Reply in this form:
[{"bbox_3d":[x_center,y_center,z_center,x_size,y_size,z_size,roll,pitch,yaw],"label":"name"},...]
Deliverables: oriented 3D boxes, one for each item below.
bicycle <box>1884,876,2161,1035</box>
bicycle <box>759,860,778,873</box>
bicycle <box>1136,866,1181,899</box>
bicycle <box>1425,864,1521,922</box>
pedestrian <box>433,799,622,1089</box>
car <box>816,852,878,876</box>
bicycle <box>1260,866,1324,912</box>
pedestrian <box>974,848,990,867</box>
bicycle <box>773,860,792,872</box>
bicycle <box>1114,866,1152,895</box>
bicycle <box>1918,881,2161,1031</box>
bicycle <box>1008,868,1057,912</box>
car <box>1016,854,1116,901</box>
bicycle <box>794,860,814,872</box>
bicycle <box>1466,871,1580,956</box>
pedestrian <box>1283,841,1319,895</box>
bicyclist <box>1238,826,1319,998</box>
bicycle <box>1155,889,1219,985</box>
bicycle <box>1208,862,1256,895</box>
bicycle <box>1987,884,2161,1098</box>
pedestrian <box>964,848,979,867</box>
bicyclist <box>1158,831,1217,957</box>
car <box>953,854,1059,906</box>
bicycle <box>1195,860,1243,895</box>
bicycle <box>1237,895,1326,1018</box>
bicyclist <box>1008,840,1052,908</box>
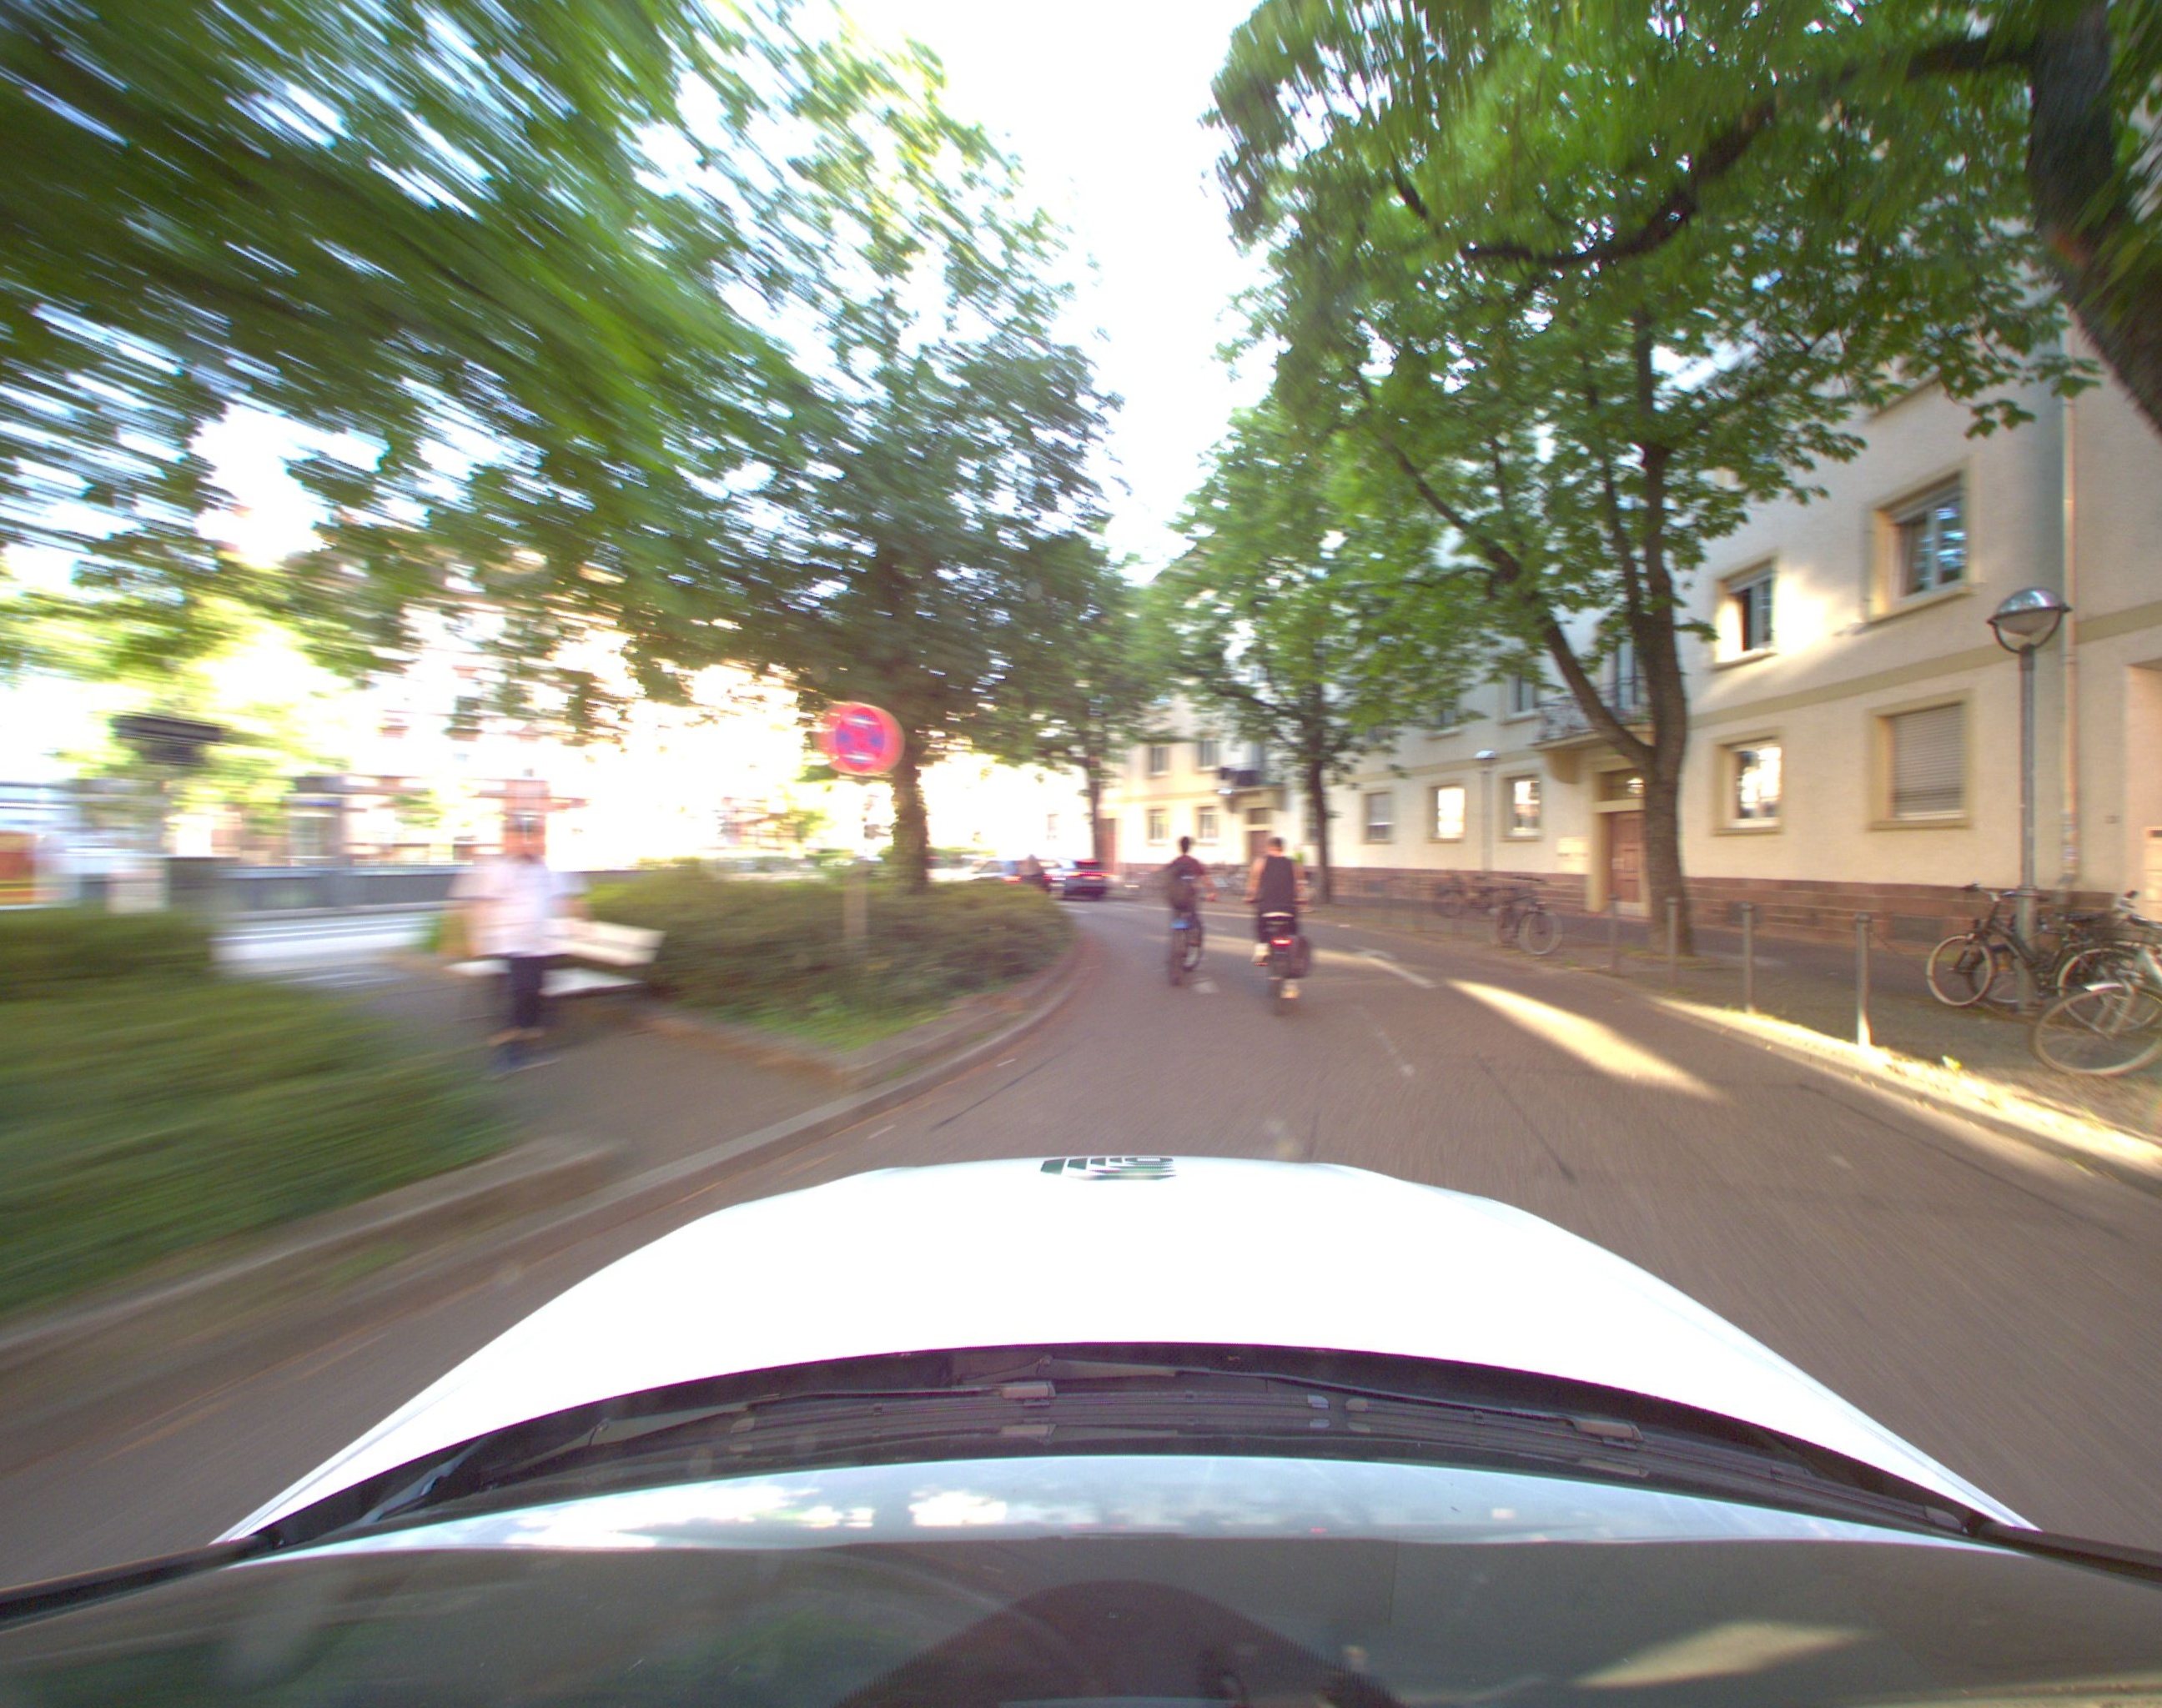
[{"bbox_3d":[8.180,0.808,7.189,0.435,1.181,1.785,0,0,0],"label":"bicycle"},{"bbox_3d":[-22.115,0.870,57.633,0.444,0.861,1.231,0,0,33],"label":"bicycle"},{"bbox_3d":[2.716,0.991,28.694,0.619,1.058,1.911,-2,1,-28],"label":"bicycle"},{"bbox_3d":[8.581,0.851,17.923,0.675,1.182,1.805,-2,-1,-29],"label":"bicycle"},{"bbox_3d":[-3.620,0.520,5.333,0.924,1.684,0.771,0,0,-43],"label":"pedestrian"},{"bbox_3d":[-16.354,0.658,57.113,1.977,1.496,4.396,0,2,18],"label":"car"},{"bbox_3d":[5.673,0.926,22.026,0.618,1.112,1.979,-3,1,-19],"label":"bicycle"},{"bbox_3d":[-10.239,0.395,84.297,1.150,1.962,1.392,0,0,13],"label":"pedestrian"},{"bbox_3d":[-21.522,0.838,58.694,0.444,0.861,1.231,0,0,33],"label":"bicycle"},{"bbox_3d":[1.899,0.967,30.054,0.522,0.999,2.174,0,0,-23],"label":"bicycle"},{"bbox_3d":[8.607,0.827,7.270,0.390,1.109,1.802,0,0,-1],"label":"bicycle"},{"bbox_3d":[-1.399,1.015,23.345,0.601,1.161,2.023,0,0,-28],"label":"bicycle"},{"bbox_3d":[-0.620,0.794,29.673,1.905,1.577,3.959,0,0,-32],"label":"car"},{"bbox_3d":[-20.751,0.891,61.039,0.444,0.861,1.456,0,0,33],"label":"bicycle"},{"bbox_3d":[6.771,0.864,12.599,0.677,1.158,2.001,-1,0,1],"label":"bicycle"},{"bbox_3d":[7.527,0.452,27.891,1.001,1.795,0.653,-1,1,-30],"label":"pedestrian"},{"bbox_3d":[2.032,0.568,8.466,0.748,1.682,0.915,0,0,9],"label":"bicyclist"},{"bbox_3d":[1.399,1.002,10.453,0.669,1.054,2.067,-1,-1,11],"label":"bicycle"},{"bbox_3d":[5.441,0.851,29.447,0.585,1.114,2.099,-1,0,-26],"label":"bicycle"},{"bbox_3d":[6.425,0.798,4.635,0.552,1.182,1.790,0,0,0],"label":"bicycle"},{"bbox_3d":[-11.394,0.367,84.966,1.150,1.962,1.392,0,0,13],"label":"pedestrian"},{"bbox_3d":[1.363,0.485,10.312,0.667,1.514,1.072,-1,-1,10],"label":"bicyclist"},{"bbox_3d":[-2.582,0.825,27.304,1.826,1.543,3.916,-2,0,-35],"label":"car"},{"bbox_3d":[4.908,0.833,29.170,0.497,1.172,2.098,-4,1,-27],"label":"bicycle"},{"bbox_3d":[2.048,0.996,8.556,0.733,1.012,2.066,0,0,9],"label":"bicycle"},{"bbox_3d":[-1.485,0.557,23.438,0.856,1.898,1.128,0,0,-31],"label":"bicyclist"}]
